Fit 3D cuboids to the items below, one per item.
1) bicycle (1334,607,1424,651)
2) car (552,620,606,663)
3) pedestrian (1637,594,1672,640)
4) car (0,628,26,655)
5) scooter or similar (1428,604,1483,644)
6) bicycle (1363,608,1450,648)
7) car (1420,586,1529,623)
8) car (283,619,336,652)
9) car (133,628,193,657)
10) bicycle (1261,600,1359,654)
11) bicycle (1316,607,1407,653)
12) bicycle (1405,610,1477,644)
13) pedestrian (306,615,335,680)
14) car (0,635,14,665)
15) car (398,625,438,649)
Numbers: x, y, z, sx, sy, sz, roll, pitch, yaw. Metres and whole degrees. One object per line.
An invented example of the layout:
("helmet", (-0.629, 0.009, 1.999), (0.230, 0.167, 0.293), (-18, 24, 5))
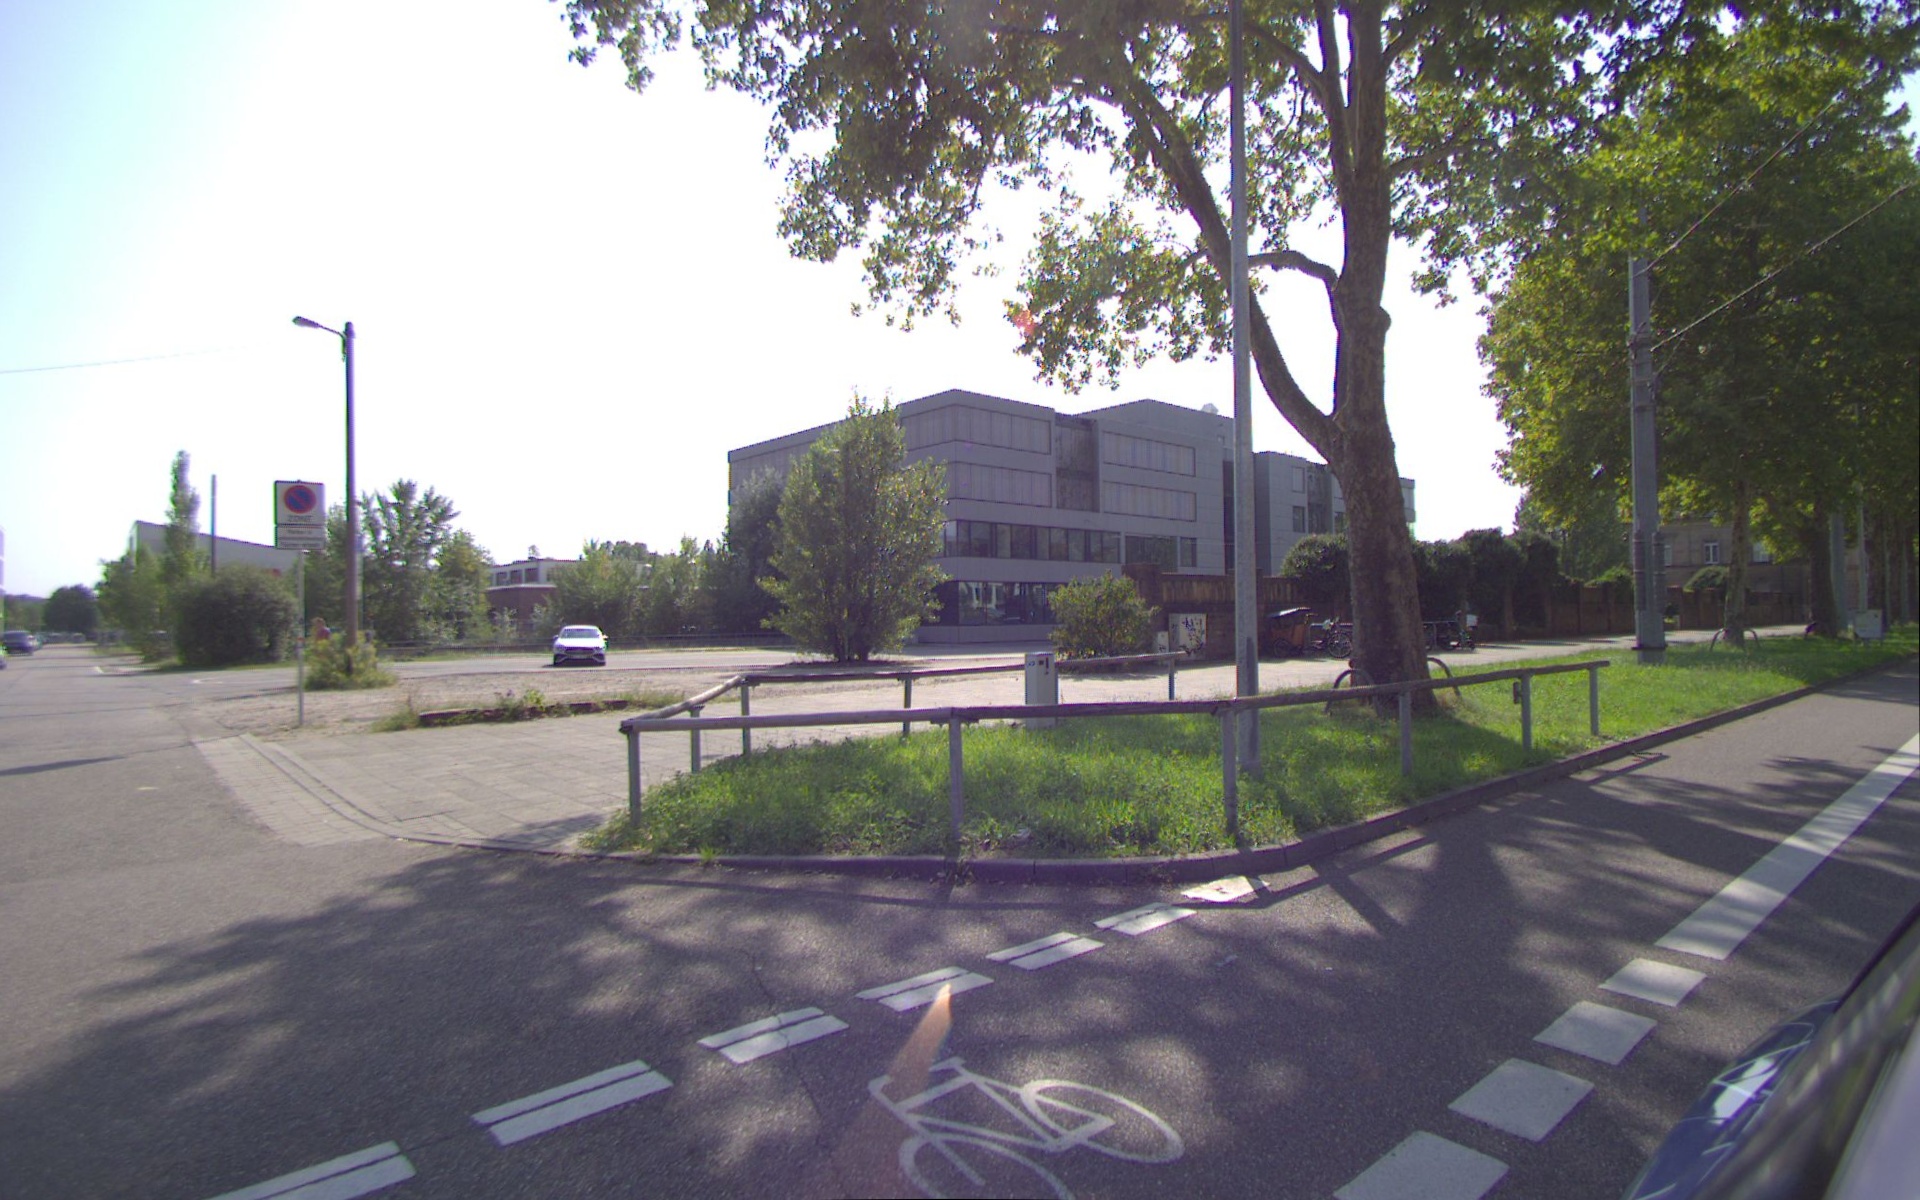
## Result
("bicycle", (11.372, 0.764, 27.521), (0.730, 1.090, 2.179), (0, 1, -38))
("car", (-13.718, 1.440, 36.311), (1.650, 1.401, 3.786), (-1, -1, -23))
("pedestrian", (23.450, 0.579, 34.169), (0.773, 1.534, 0.784), (0, -1, -42))
("car", (-75.733, 3.285, 80.777), (1.677, 2.077, 3.788), (0, -2, -42))
("scooter or similar", (15.761, 0.746, 32.235), (0.529, 1.206, 1.509), (0, 0, -37))
("bicycle", (12.843, 0.794, 29.141), (0.731, 1.090, 2.175), (0, -1, -43))
("car", (25.659, 0.234, 50.602), (1.878, 1.756, 4.525), (0, -1, -43))
("car", (-42.654, 2.295, 66.329), (3.986, 2.039, 1.969), (-1, 0, 43))
("car", (-54.907, 2.897, 69.774), (1.958, 1.738, 4.009), (0, 1, -18))
("bicycle", (9.166, 0.670, 26.596), (0.982, 1.293, 2.247), (-1, 2, -42))
("bicycle", (10.708, 0.773, 27.064), (0.730, 1.090, 2.179), (0, 1, -38))
("bicycle", (14.922, 0.830, 31.416), (0.722, 1.019, 1.868), (0, -1, -43))
("pedestrian", (-16.086, 1.174, 25.452), (0.499, 1.600, 0.512), (-2, -1, 42))
("car", (-48.478, 2.525, 50.504), (1.676, 1.464, 3.789), (0, -2, -41))
("car", (-44.206, 3.039, 82.534), (1.966, 1.907, 3.990), (3, -5, -42))
